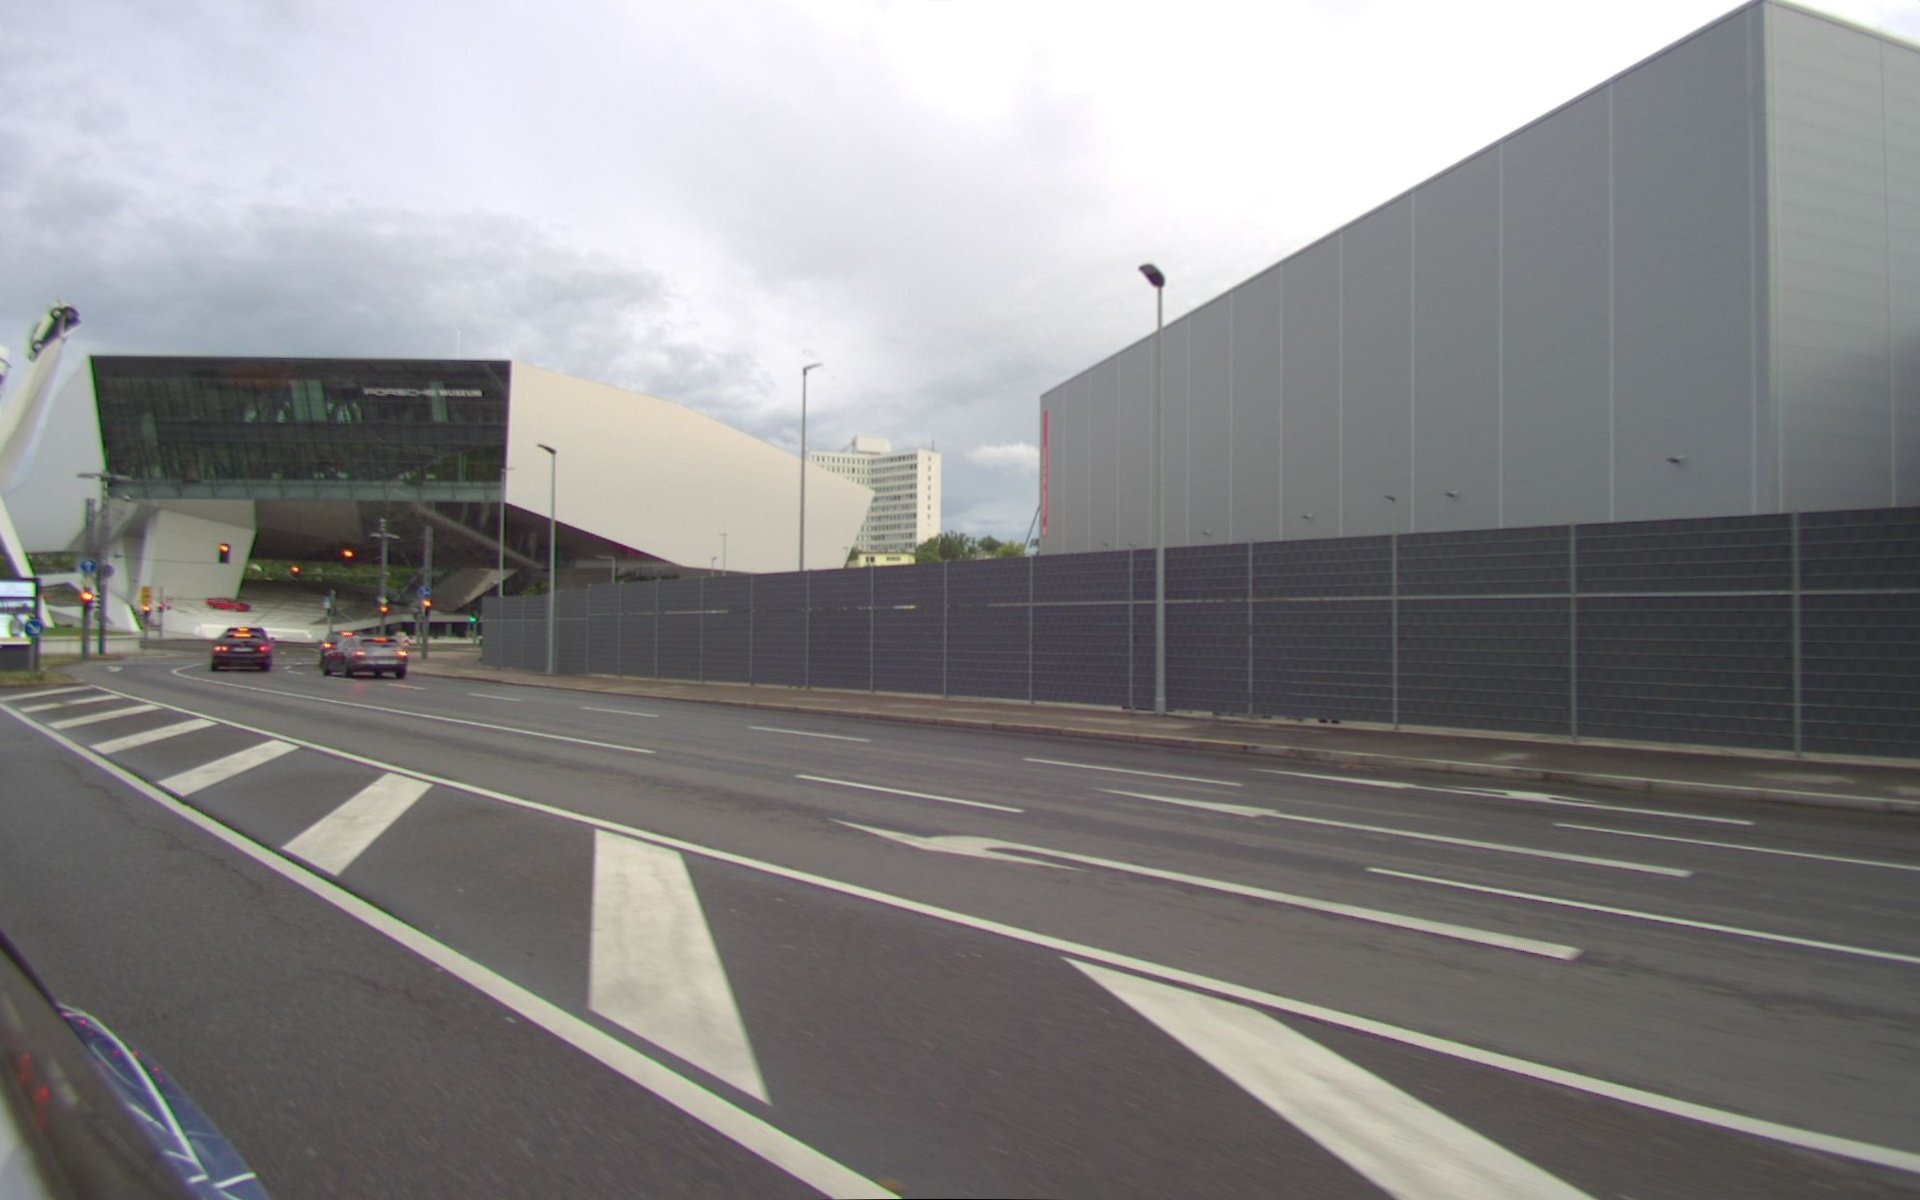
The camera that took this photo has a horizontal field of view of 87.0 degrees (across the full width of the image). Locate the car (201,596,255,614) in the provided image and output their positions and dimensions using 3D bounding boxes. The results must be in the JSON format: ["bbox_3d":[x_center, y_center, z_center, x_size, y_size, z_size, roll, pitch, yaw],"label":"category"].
[{"bbox_3d":[-78.965,0.539,109.182,4.186,1.394,2.001,8,-1,-1],"label":"car"}]

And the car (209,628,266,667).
[{"bbox_3d":[-31.291,2.035,43.945,1.758,1.600,4.579,1,-2,-33],"label":"car"}]

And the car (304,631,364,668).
[{"bbox_3d":[-26.664,2.098,43.067,1.759,1.465,4.571,3,-3,-36],"label":"car"}]

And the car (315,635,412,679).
[{"bbox_3d":[-20.291,1.916,34.342,1.762,1.396,4.549,5,-5,-44],"label":"car"}]

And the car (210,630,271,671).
[{"bbox_3d":[-27.172,1.860,38.181,1.759,1.451,4.405,1,-2,-37],"label":"car"}]
